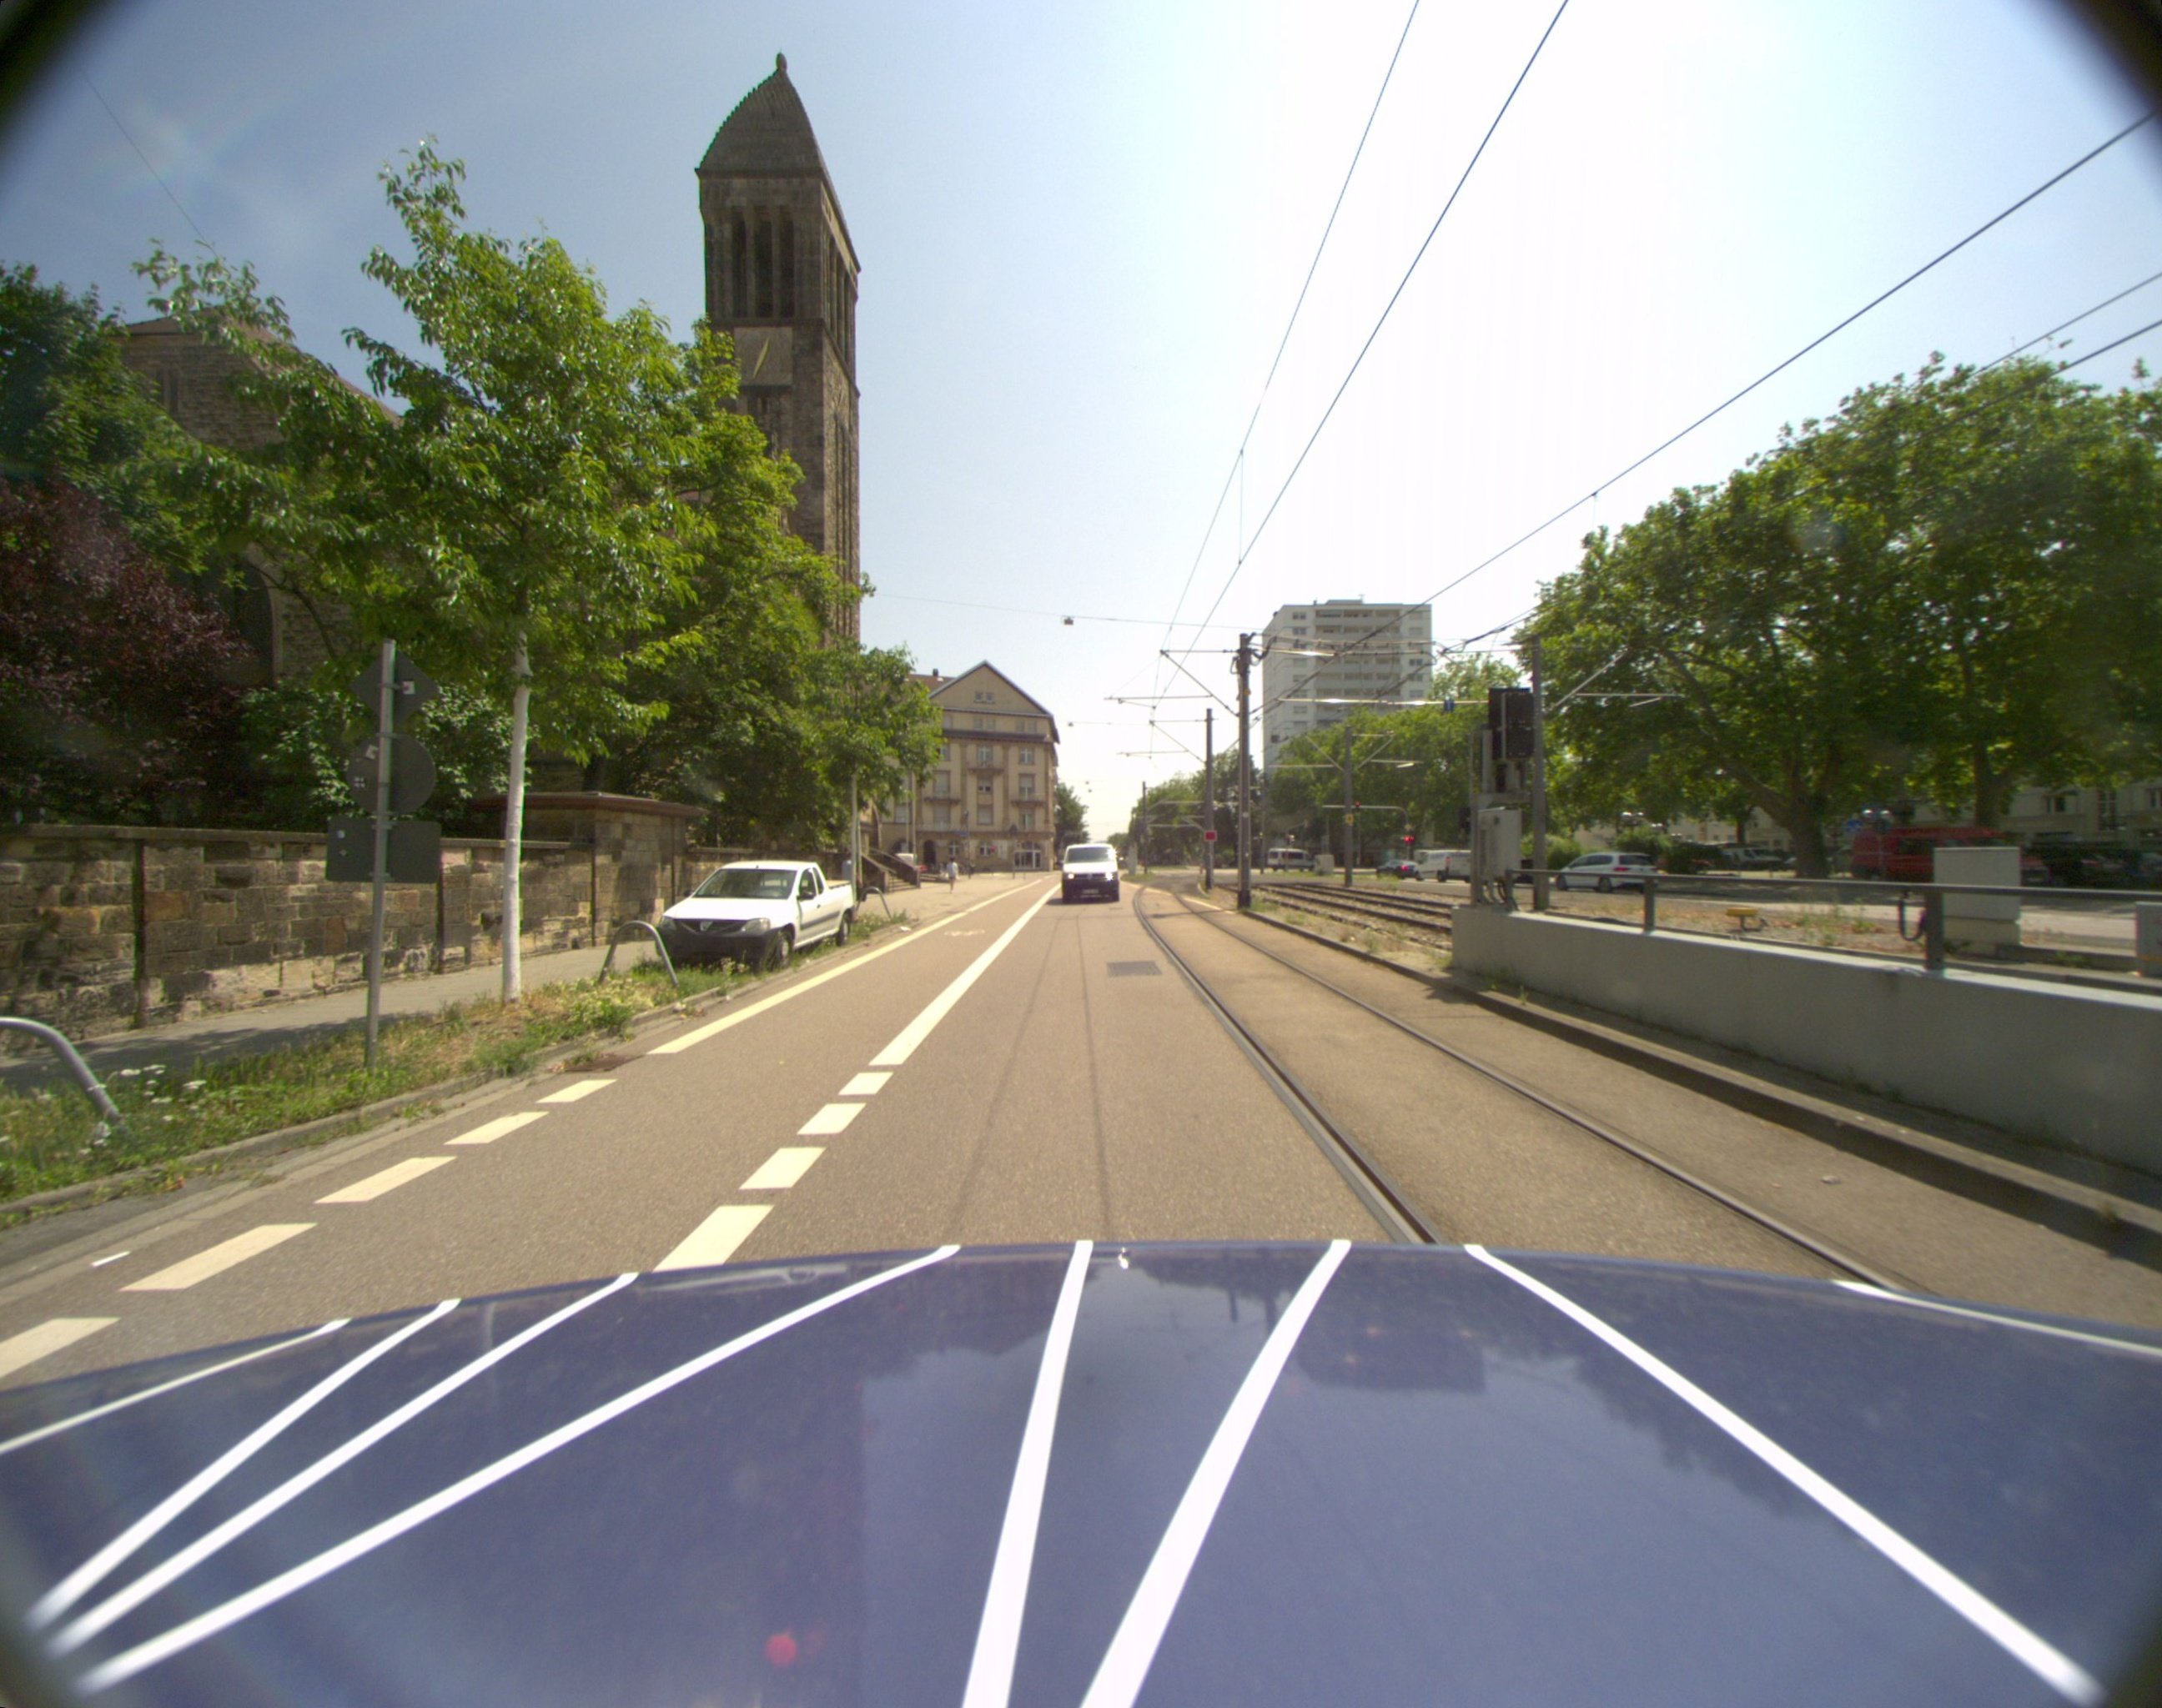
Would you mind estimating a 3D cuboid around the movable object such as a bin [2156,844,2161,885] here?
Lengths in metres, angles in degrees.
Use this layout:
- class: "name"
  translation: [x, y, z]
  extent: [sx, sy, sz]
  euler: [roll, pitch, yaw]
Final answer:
- class: "movable object such as a bin"
  translation: [44.142, 0.406, 29.244]
  extent: [2.724, 1.601, 1.986]
  euler: [0, 0, 0]

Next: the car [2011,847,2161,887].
- class: "car"
  translation: [41.365, 0.497, 31.022]
  extent: [1.867, 1.517, 4.000]
  euler: [-1, 0, 0]

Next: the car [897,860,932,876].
- class: "car"
  translation: [-17.189, 1.442, 78.586]
  extent: [3.218, 1.471, 1.619]
  euler: [1, 3, 26]

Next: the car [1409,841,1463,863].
- class: "car"
  translation: [44.055, -0.266, 94.323]
  extent: [6.641, 2.622, 2.073]
  euler: [-1, 0, -23]

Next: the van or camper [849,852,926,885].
- class: "van or camper"
  translation: [-11.254, 0.825, 44.357]
  extent: [3.997, 1.814, 1.803]
  euler: [1, 0, -1]

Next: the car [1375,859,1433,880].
- class: "car"
  translation: [22.031, 1.020, 52.090]
  extent: [1.952, 1.351, 4.628]
  euler: [0, -1, -1]

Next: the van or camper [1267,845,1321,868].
- class: "van or camper"
  translation: [23.776, 0.294, 84.730]
  extent: [5.910, 2.447, 2.069]
  euler: [0, 0, -26]

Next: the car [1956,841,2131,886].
- class: "car"
  translation: [38.655, 0.357, 30.695]
  extent: [1.998, 1.710, 4.000]
  euler: [-1, 0, 0]

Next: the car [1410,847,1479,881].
- class: "car"
  translation: [21.928, 0.587, 46.051]
  extent: [1.781, 1.979, 4.804]
  euler: [0, 0, -1]

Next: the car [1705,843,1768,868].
- class: "car"
  translation: [56.278, 0.134, 65.303]
  extent: [1.998, 2.071, 4.000]
  euler: [-1, 0, 0]

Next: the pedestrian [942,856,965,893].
- class: "pedestrian"
  translation: [-5.795, 0.939, 34.534]
  extent: [0.795, 1.641, 0.967]
  euler: [-1, 0, 2]

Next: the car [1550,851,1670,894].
- class: "car"
  translation: [21.774, 0.717, 31.525]
  extent: [1.851, 1.616, 4.602]
  euler: [1, 0, 1]

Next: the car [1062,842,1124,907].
- class: "car"
  translation: [0.439, 0.626, 25.398]
  extent: [1.852, 1.942, 4.944]
  euler: [-1, 0, 2]

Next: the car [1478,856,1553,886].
- class: "car"
  translation: [21.921, 0.807, 38.490]
  extent: [1.600, 1.412, 3.782]
  euler: [1, 0, 0]

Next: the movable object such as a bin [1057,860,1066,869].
- class: "movable object such as a bin"
  translation: [-2.960, 1.588, 114.921]
  extent: [1.214, 1.427, 1.008]
  euler: [-1, 0, -4]

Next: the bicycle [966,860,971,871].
- class: "bicycle"
  translation: [-12.354, 1.203, 83.375]
  extent: [0.565, 1.145, 1.803]
  euler: [-1, 1, -10]

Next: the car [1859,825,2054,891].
- class: "car"
  translation: [34.125, 0.107, 29.892]
  extent: [1.851, 2.379, 4.980]
  euler: [-1, 1, 0]

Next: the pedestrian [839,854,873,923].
- class: "pedestrian"
  translation: [-5.811, 0.880, 19.693]
  extent: [0.622, 1.744, 0.678]
  euler: [-1, 0, 2]

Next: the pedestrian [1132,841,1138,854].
- class: "pedestrian"
  translation: [7.332, -0.891, 103.112]
  extent: [0.679, 1.695, 0.554]
  euler: [-1, 0, 3]

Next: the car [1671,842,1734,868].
- class: "car"
  translation: [52.544, 0.086, 64.335]
  extent: [1.998, 2.071, 4.000]
  euler: [-1, 0, 0]

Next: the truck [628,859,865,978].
- class: "truck"
  translation: [-5.047, 0.864, 12.265]
  extent: [1.794, 1.517, 4.465]
  euler: [-1, 0, 1]
